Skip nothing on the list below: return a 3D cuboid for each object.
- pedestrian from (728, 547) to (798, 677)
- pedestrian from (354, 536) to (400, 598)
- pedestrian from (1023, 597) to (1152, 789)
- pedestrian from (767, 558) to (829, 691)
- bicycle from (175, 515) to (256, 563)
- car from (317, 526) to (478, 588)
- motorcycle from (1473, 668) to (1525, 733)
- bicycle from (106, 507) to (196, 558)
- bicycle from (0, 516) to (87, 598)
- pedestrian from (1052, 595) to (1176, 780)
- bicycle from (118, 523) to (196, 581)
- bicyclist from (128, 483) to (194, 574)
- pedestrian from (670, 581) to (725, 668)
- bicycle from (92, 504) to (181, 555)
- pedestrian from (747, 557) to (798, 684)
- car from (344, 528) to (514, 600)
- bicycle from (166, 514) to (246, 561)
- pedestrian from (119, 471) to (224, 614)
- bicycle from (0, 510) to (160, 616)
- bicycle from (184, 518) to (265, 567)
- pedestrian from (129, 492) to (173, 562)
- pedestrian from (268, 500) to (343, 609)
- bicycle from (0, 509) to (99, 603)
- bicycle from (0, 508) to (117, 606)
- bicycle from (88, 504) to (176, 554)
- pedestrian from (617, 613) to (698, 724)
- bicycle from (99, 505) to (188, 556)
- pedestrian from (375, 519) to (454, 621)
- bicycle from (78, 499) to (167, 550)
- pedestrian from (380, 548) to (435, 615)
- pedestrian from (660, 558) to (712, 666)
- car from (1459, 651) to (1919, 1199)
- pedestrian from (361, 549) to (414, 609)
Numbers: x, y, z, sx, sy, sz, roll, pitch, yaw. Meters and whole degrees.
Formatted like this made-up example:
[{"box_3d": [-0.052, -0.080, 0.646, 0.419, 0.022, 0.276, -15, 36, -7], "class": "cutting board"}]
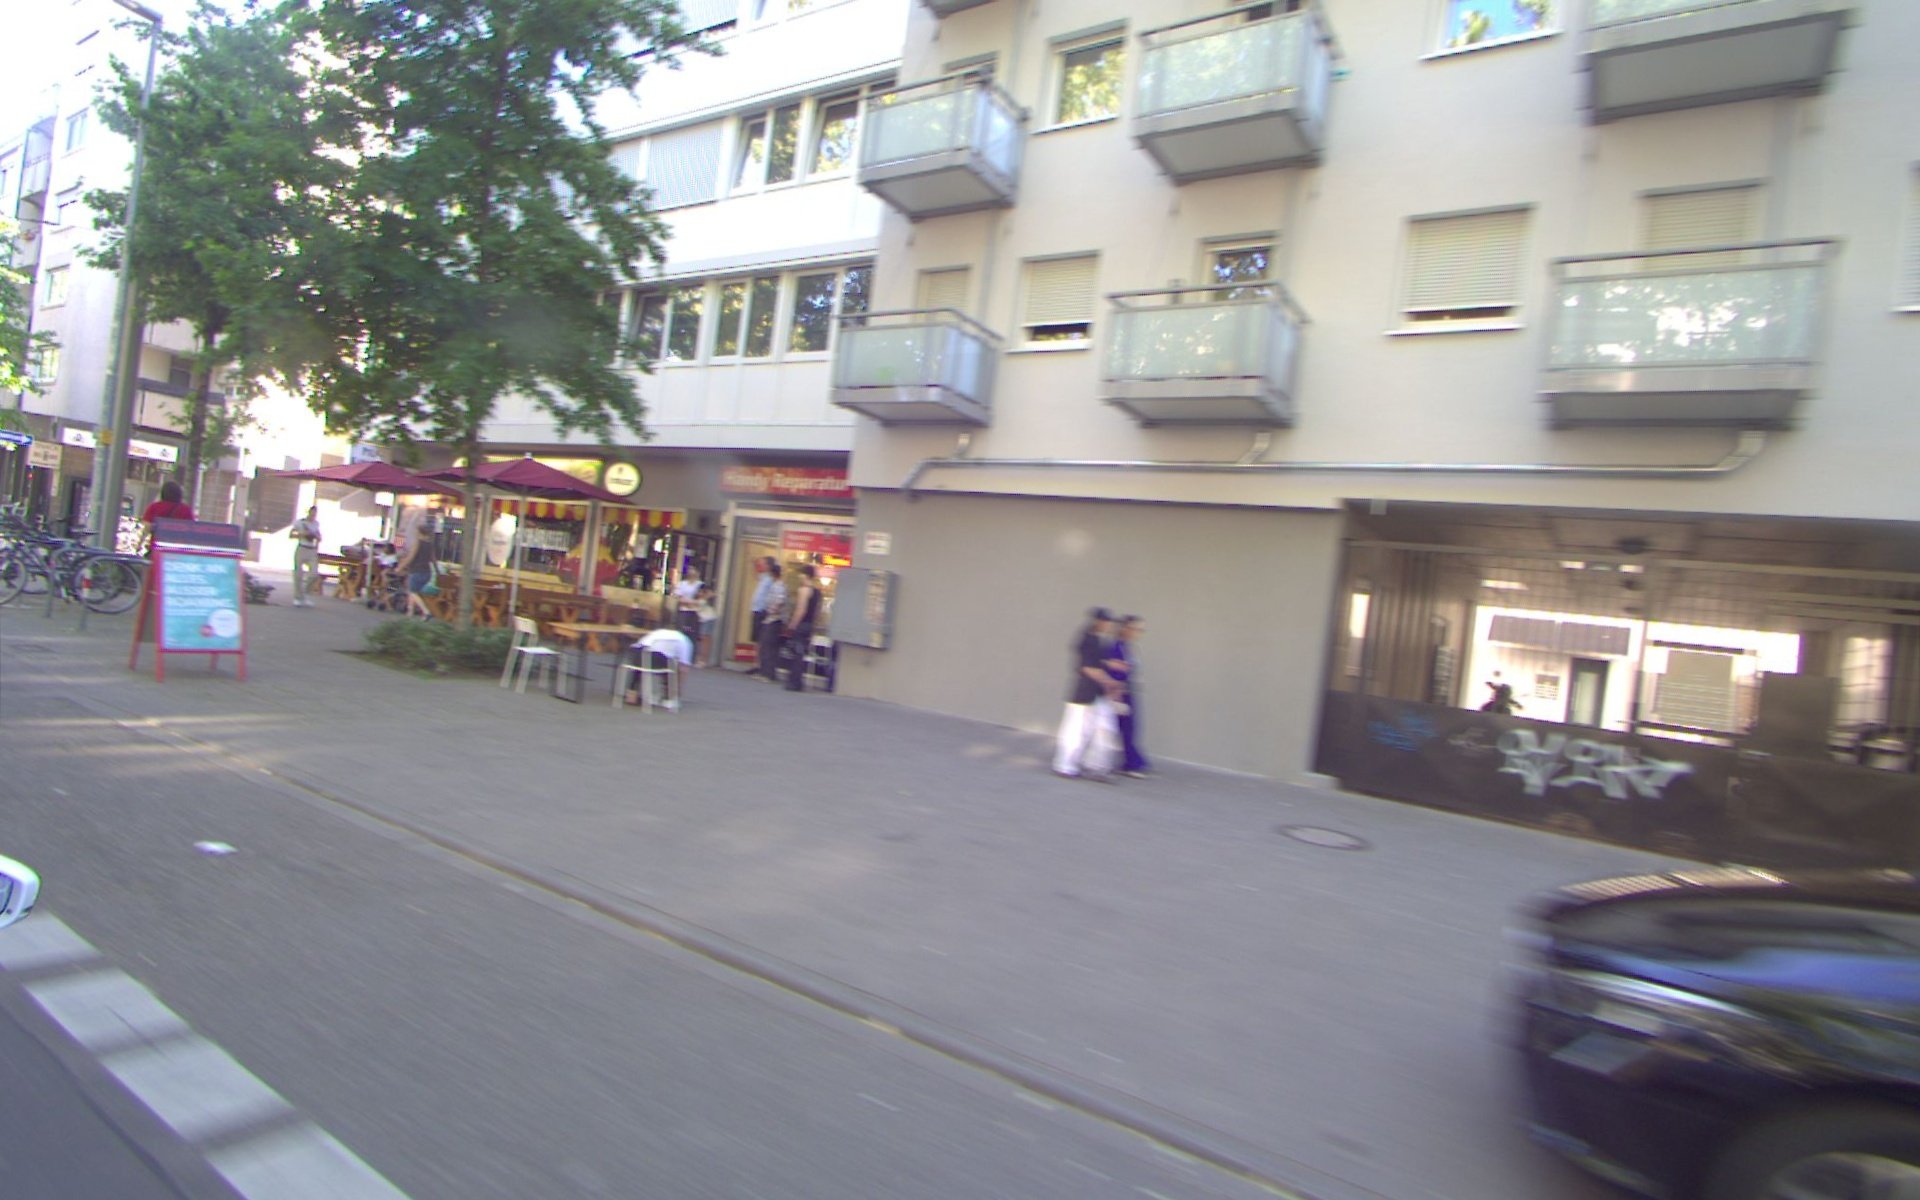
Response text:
[{"box_3d": [-3.163, 0.193, 16.124, 0.782, 1.977, 0.505, 7, -1, 43], "class": "pedestrian"}, {"box_3d": [-13.269, -0.742, 22.897, 0.704, 1.302, 0.536, 7, -1, 35], "class": "pedestrian"}, {"box_3d": [1.210, 0.858, 9.571, 0.855, 1.659, 0.642, 8, 2, 32], "class": "pedestrian"}, {"box_3d": [-2.289, 0.348, 14.226, 0.481, 1.817, 0.432, 7, -1, 33], "class": "pedestrian"}, {"box_3d": [-23.673, -1.935, 32.028, 0.502, 1.221, 1.918, 7, -2, 30], "class": "bicycle"}, {"box_3d": [-20.023, -1.498, 36.017, 1.841, 1.496, 4.588, 10, 1, 34], "class": "car"}, {"box_3d": [10.370, 1.933, 19.298, 0.705, 1.089, 2.414, 7, -2, 30], "class": "motorcycle"}, {"box_3d": [-23.763, -1.956, 29.581, 0.502, 1.222, 1.917, 9, 1, 30], "class": "bicycle"}, {"box_3d": [-13.042, -0.637, 13.529, 0.473, 1.005, 1.819, 7, -2, 31], "class": "bicycle"}, {"box_3d": [1.555, 0.857, 10.162, 0.919, 1.700, 0.596, 7, 2, 32], "class": "pedestrian"}, {"box_3d": [-16.590, -1.002, 20.769, 1.991, 0.974, 0.677, 6, -1, 36], "class": "bicycle"}, {"box_3d": [-16.463, -1.476, 20.733, 0.950, 1.737, 0.677, 7, -1, 36], "class": "bicyclist"}, {"box_3d": [-4.188, 0.397, 16.075, 0.615, 1.291, 0.509, 7, -1, -3], "class": "pedestrian"}, {"box_3d": [-24.634, -2.088, 30.123, 0.502, 1.222, 1.917, 8, 0, 30], "class": "bicycle"}, {"box_3d": [-2.853, 0.309, 15.281, 0.518, 1.826, 0.630, 7, -1, -13], "class": "pedestrian"}, {"box_3d": [-16.504, -1.090, 31.499, 1.933, 1.610, 4.260, 6, -2, 28], "class": "car"}, {"box_3d": [-24.229, -1.995, 32.364, 0.502, 1.221, 1.918, 6, -2, 30], "class": "bicycle"}, {"box_3d": [-10.742, -0.777, 13.702, 0.873, 1.779, 1.035, 8, -1, -43], "class": "pedestrian"}, {"box_3d": [-11.038, -0.449, 12.299, 0.517, 1.113, 1.817, 7, -1, 33], "class": "bicycle"}, {"box_3d": [-23.166, -1.791, 31.726, 0.502, 1.222, 1.918, 9, 0, 30], "class": "bicycle"}, {"box_3d": [-19.426, -1.751, 24.154, 0.635, 1.580, 0.551, 6, -1, 38], "class": "pedestrian"}, {"box_3d": [-11.680, -0.807, 17.956, 0.979, 1.805, 0.591, 7, -1, 32], "class": "pedestrian"}, {"box_3d": [-12.416, -0.616, 12.995, 0.489, 1.113, 1.821, 7, -2, 25], "class": "bicycle"}, {"box_3d": [-11.947, -0.572, 12.743, 0.473, 1.113, 1.821, 7, -2, 25], "class": "bicycle"}, {"box_3d": [-25.059, -2.138, 30.467, 0.502, 1.222, 1.917, 8, 0, 30], "class": "bicycle"}, {"box_3d": [-3.233, 0.709, 10.720, 0.652, 1.039, 0.997, 8, -1, -20], "class": "pedestrian"}, {"box_3d": [-24.189, -2.033, 29.848, 0.502, 1.222, 1.917, 9, 1, 30], "class": "bicycle"}, {"box_3d": [-9.695, -0.523, 17.899, 0.799, 1.678, 0.680, 7, -1, 14], "class": "pedestrian"}, {"box_3d": [-25.566, -2.301, 30.745, 0.502, 1.221, 1.918, 7, -2, 30], "class": "bicycle"}, {"box_3d": [-10.803, -0.353, 19.671, 0.513, 1.189, 0.660, 7, -1, 32], "class": "pedestrian"}, {"box_3d": [-4.368, 0.199, 16.063, 0.509, 1.648, 0.507, 7, -1, -4], "class": "pedestrian"}, {"box_3d": [3.694, 1.197, 2.327, 4.259, 1.609, 1.758, 7, 3, 33], "class": "car"}, {"box_3d": [-11.466, -0.419, 20.154, 0.513, 1.091, 0.643, 7, -1, 32], "class": "pedestrian"}]
